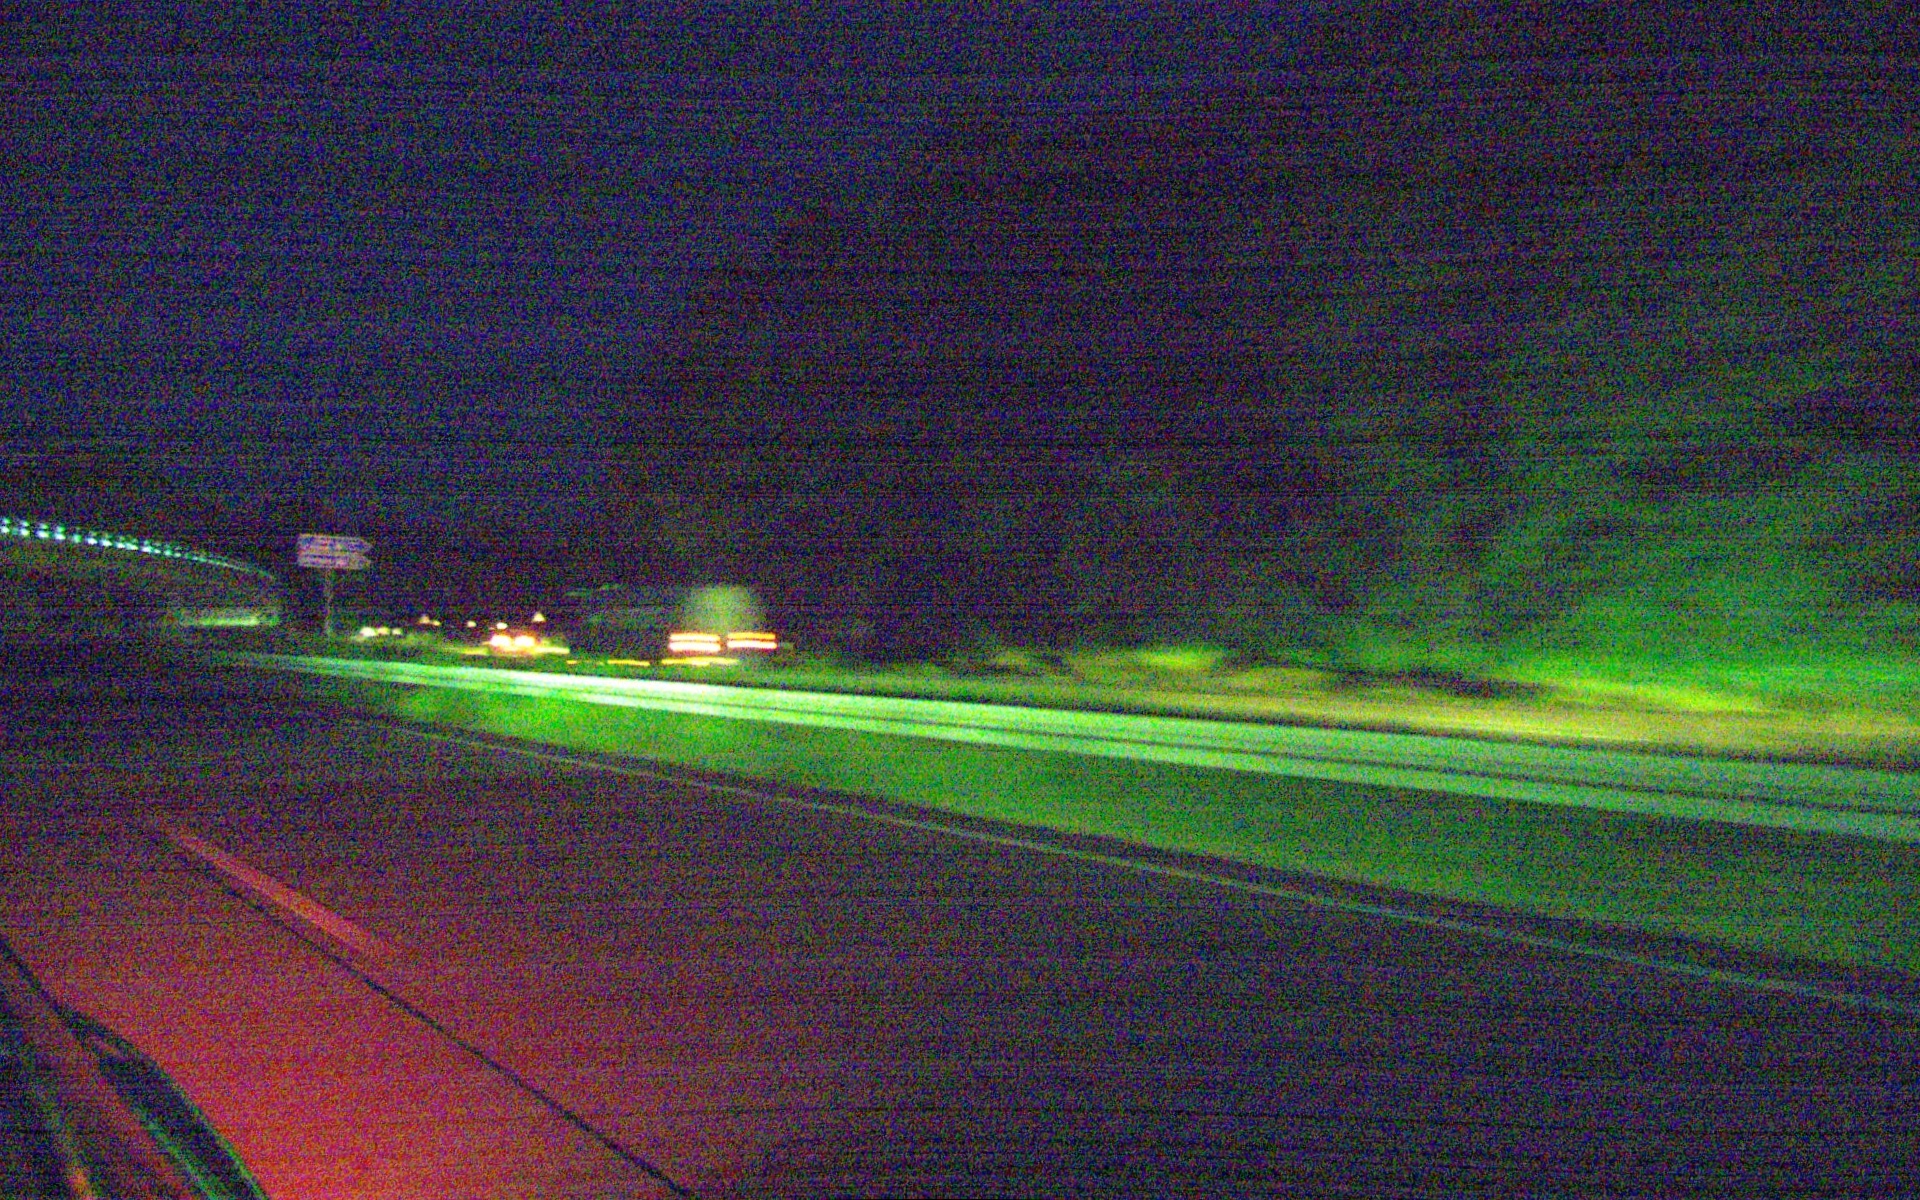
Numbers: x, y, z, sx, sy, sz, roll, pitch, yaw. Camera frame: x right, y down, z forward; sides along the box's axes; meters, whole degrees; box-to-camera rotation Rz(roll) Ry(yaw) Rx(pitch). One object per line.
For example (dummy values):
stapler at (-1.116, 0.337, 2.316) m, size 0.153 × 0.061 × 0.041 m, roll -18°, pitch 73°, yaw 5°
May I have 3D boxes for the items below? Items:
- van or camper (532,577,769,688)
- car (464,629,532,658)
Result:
van or camper at (-8.564, 0.888, 27.435) m, size 7.657 × 2.637 × 2.272 m, roll -1°, pitch -3°, yaw 39°
car at (-24.309, 2.263, 53.150) m, size 1.800 × 1.453 × 4.478 m, roll 3°, pitch -4°, yaw -45°
